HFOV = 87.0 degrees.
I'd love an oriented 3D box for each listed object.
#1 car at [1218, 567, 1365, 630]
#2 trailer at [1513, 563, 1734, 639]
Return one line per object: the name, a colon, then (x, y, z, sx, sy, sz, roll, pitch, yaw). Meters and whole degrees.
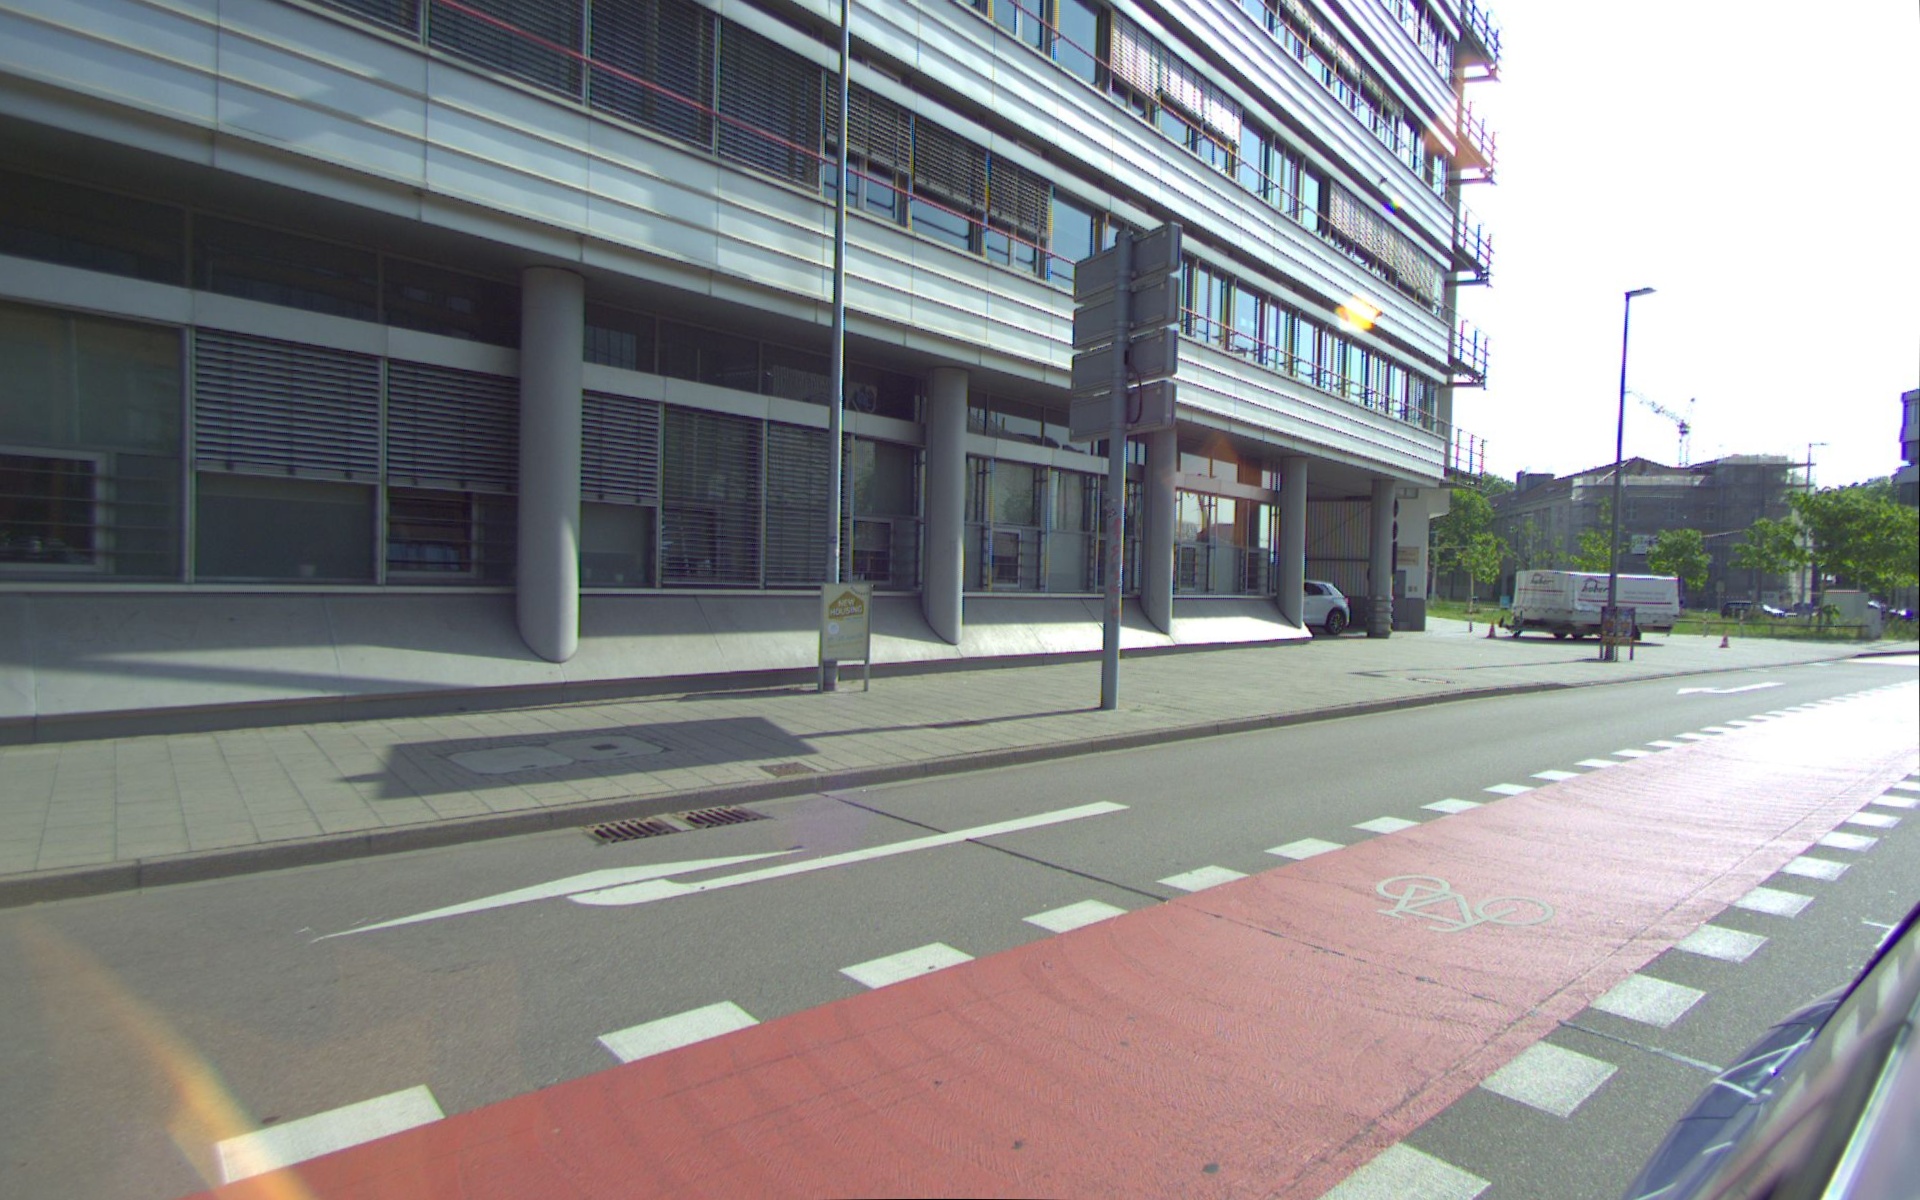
car: (9.349, -0.042, 28.486, 3.920, 1.609, 1.752, 2, 1, -31)
trailer: (20.774, 0.014, 31.784, 5.824, 2.178, 2.402, 1, 1, -14)
